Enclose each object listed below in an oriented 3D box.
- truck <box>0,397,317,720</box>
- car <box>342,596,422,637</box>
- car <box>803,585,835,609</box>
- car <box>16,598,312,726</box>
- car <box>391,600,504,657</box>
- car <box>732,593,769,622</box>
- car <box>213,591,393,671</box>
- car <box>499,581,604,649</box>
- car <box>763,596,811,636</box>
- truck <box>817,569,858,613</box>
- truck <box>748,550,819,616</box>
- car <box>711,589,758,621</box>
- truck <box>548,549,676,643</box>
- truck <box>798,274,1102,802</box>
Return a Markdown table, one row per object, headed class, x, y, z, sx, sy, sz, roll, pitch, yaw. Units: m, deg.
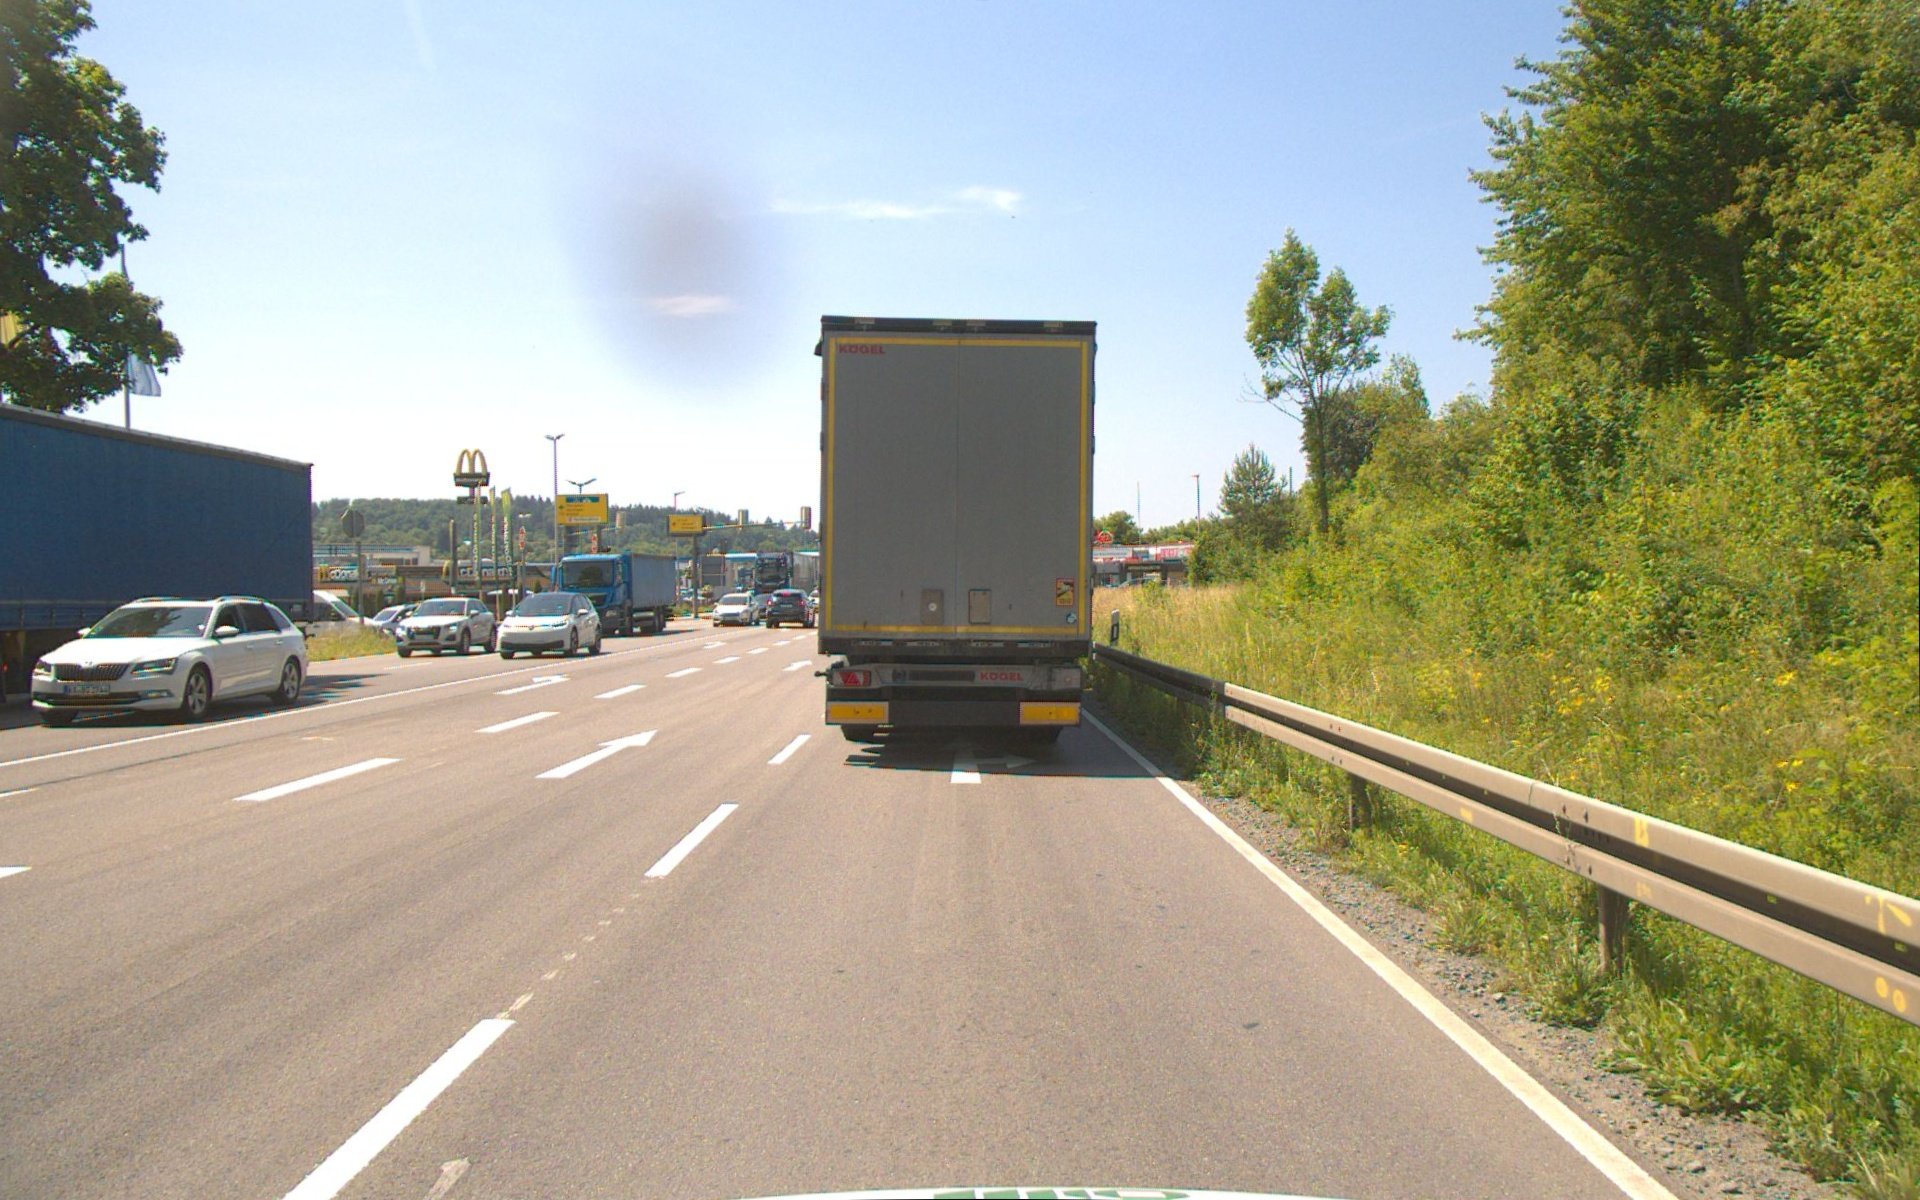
| class | x | y | z | sx | sy | sz | roll | pitch | yaw |
| --- | --- | --- | --- | --- | --- | --- | --- | --- | --- |
| truck | -14.100 | -0.525 | 24.358 | 2.908 | 4.250 | 16.571 | -1 | 0 | -1 |
| car | -29.715 | 0.826 | 84.956 | 3.919 | 2.049 | 1.993 | -1 | 0 | 36 |
| car | -9.461 | -0.185 | 110.932 | 1.705 | 1.529 | 4.406 | -2 | -1 | 0 |
| car | -9.984 | 0.713 | 21.175 | 1.665 | 1.439 | 4.561 | -1 | 0 | -1 |
| car | -13.816 | 0.733 | 44.789 | 1.725 | 1.453 | 4.180 | -1 | 0 | 0 |
| car | -11.072 | 0.411 | 87.540 | 1.629 | 1.428 | 4.014 | 0 | -2 | -3 |
| car | -25.242 | 1.171 | 63.722 | 5.878 | 2.530 | 2.192 | -5 | 1 | -6 |
| car | -10.111 | 0.332 | 41.257 | 1.757 | 1.548 | 4.184 | -2 | 1 | -3 |
| car | -7.449 | 0.658 | 71.588 | 1.757 | 1.655 | 4.368 | -1 | 0 | -2 |
| truck | -11.874 | -0.865 | 161.075 | 2.874 | 4.019 | 14.236 | -1 | 0 | 0 |
| truck | -12.593 | -1.140 | 119.562 | 3.081 | 4.425 | 17.542 | -1 | 0 | 0 |
| car | -10.523 | 0.240 | 77.484 | 1.753 | 1.451 | 4.261 | 0 | 0 | -2 |
| truck | -13.762 | -0.136 | 66.427 | 2.788 | 3.410 | 11.480 | -1 | 0 | 0 |
| truck | -0.218 | -0.436 | 23.164 | 2.700 | 4.720 | 16.650 | 0 | -1 | -1 |
